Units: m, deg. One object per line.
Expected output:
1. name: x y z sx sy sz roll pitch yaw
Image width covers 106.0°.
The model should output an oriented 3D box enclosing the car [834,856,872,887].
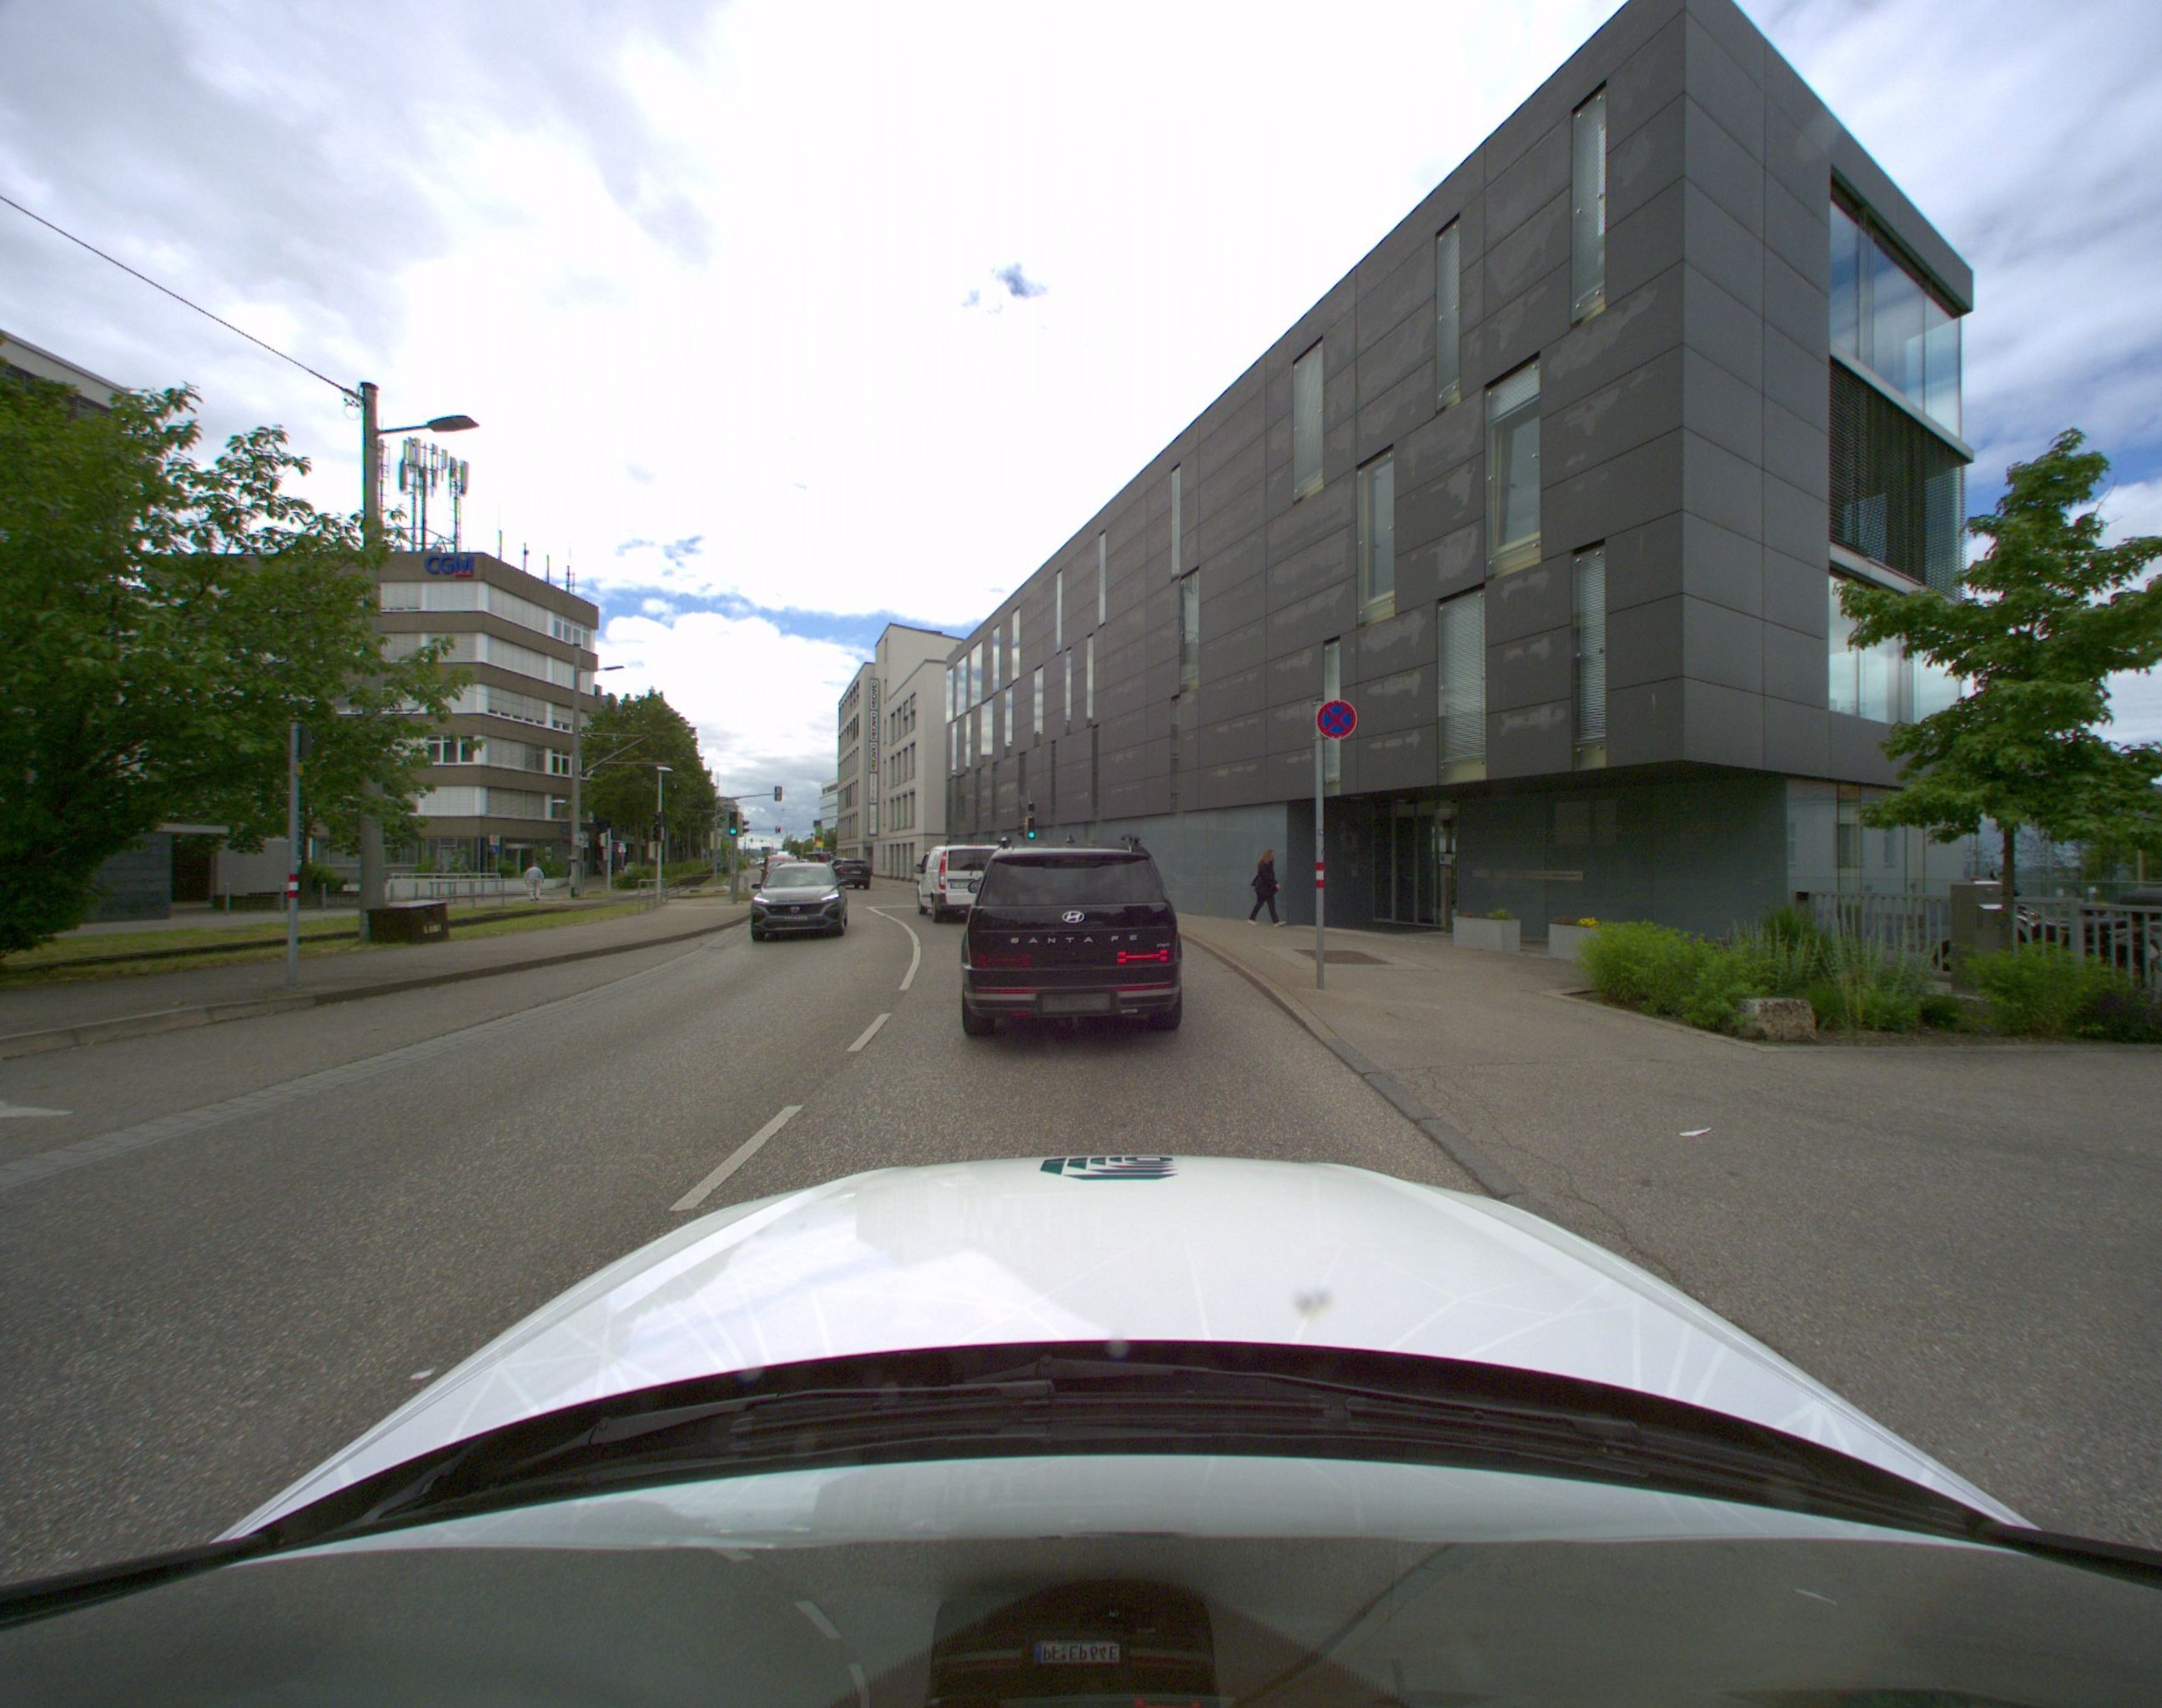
1. car: -12.502 0.942 44.559 1.765 1.609 4.161 0 0 -19

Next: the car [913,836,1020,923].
1. car: -3.096 0.599 21.222 1.938 1.994 4.505 0 0 -19

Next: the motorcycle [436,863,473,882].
1. motorcycle: -39.794 1.153 51.734 1.872 1.199 0.568 -1 -1 1

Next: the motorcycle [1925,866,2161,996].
1. motorcycle: 12.053 0.869 10.111 0.669 1.393 2.113 0 0 -16

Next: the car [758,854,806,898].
1. car: -13.531 0.959 36.697 1.688 1.808 4.317 -2 0 -24

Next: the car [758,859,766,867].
1. car: -76.491 2.133 195.108 1.673 1.882 3.971 0 -1 -22

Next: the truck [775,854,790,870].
1. truck: -51.515 1.378 140.419 2.175 2.616 5.750 0 0 -24

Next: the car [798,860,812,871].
1. car: -40.217 1.623 118.579 1.765 1.609 4.160 0 0 -20

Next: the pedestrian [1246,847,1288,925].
1. pedestrian: 4.108 0.688 18.041 0.857 1.694 0.715 0 -1 9

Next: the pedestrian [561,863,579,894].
1. pedestrian: -28.203 1.357 44.953 0.690 1.705 0.678 -1 0 -21

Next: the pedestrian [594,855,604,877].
1. pedestrian: -44.893 1.131 75.816 0.684 2.014 0.566 0 -1 -23

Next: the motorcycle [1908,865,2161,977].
1. motorcycle: 13.515 0.862 11.573 0.669 1.393 2.449 0 -1 -16

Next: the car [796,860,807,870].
1. car: -46.564 1.839 135.628 1.765 1.609 4.160 0 0 -20

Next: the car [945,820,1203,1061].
1. car: -0.177 0.649 8.278 1.905 1.749 4.390 -1 0 -4

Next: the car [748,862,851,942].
1. car: -6.014 0.945 17.804 1.771 1.479 3.980 -2 0 -15

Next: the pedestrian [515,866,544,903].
1. pedestrian: -23.290 1.270 34.399 0.851 1.526 0.988 -1 0 -24
